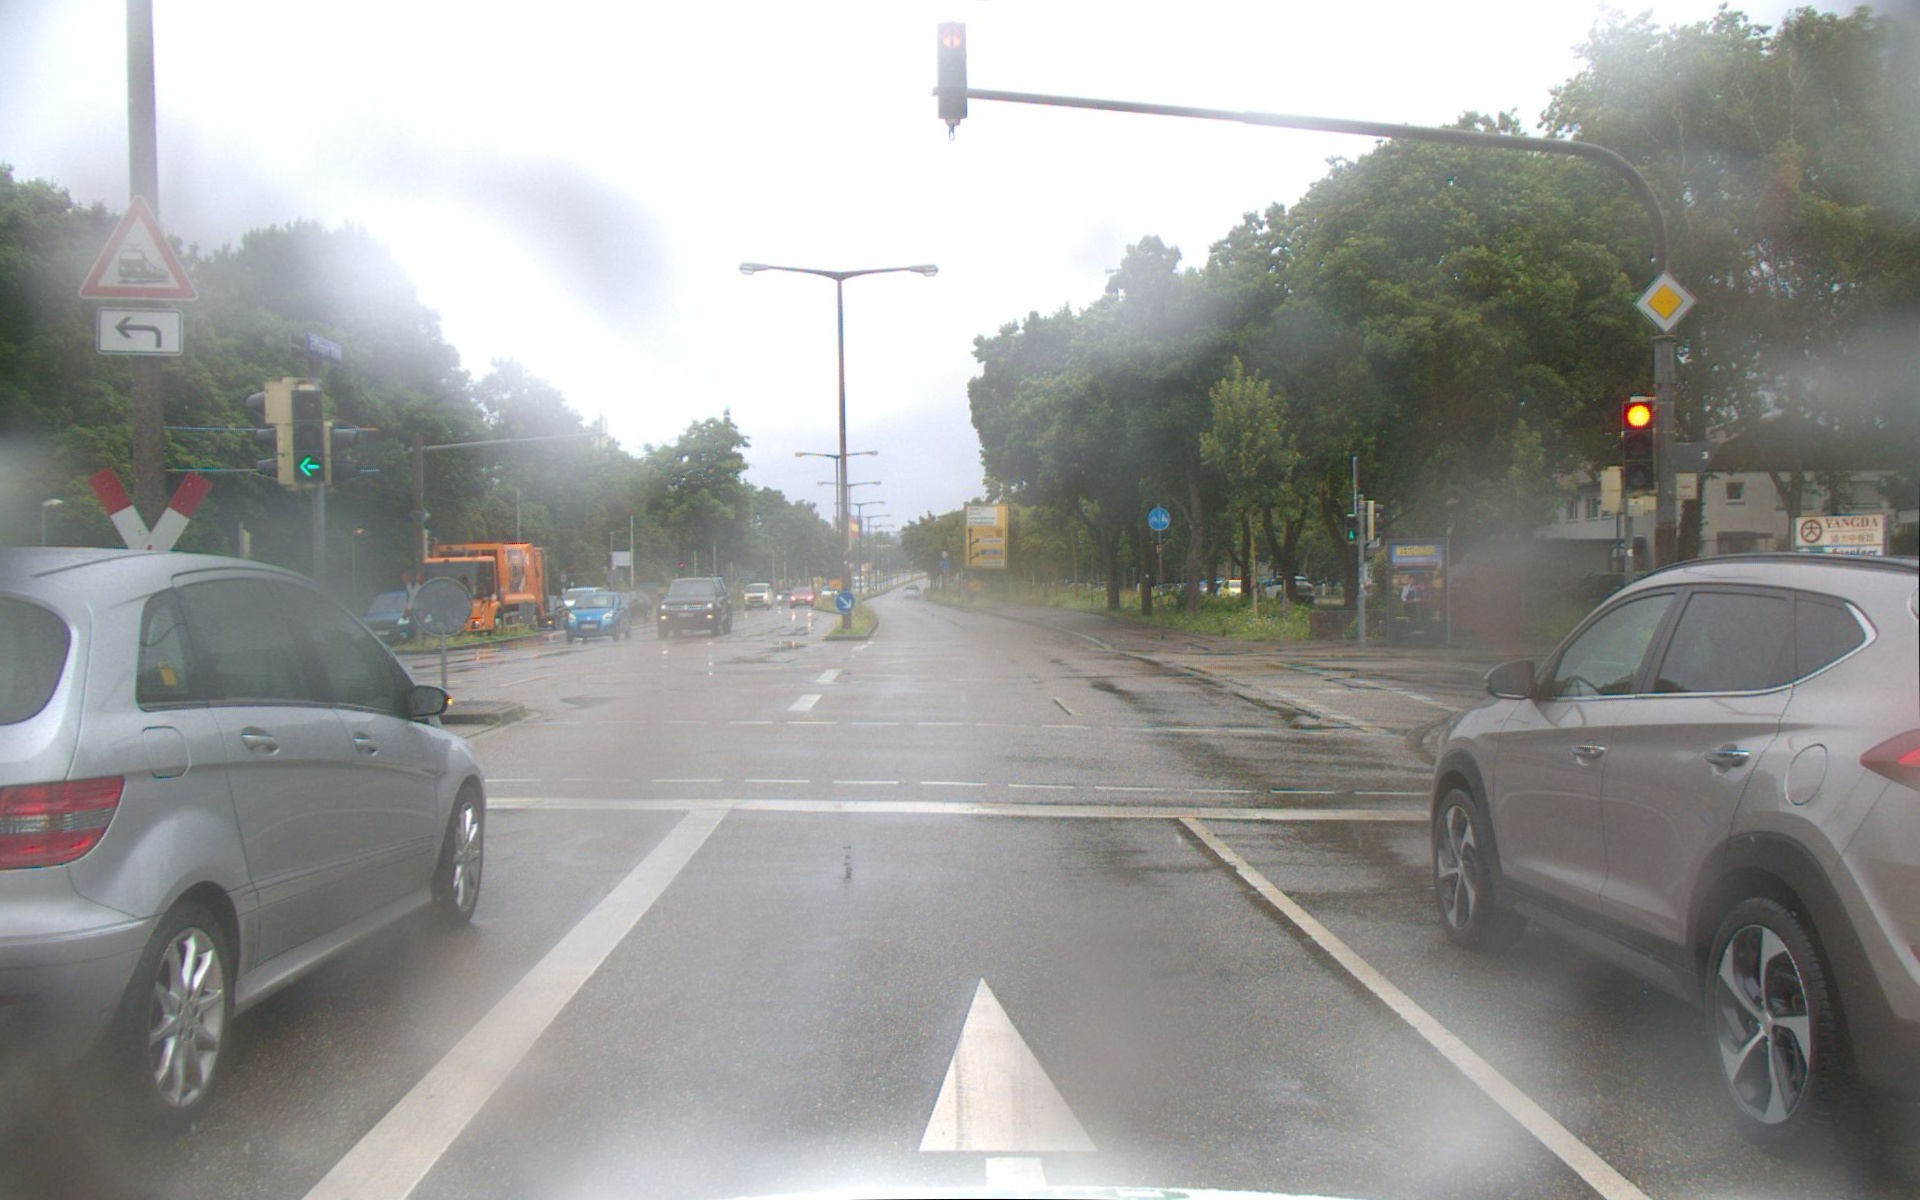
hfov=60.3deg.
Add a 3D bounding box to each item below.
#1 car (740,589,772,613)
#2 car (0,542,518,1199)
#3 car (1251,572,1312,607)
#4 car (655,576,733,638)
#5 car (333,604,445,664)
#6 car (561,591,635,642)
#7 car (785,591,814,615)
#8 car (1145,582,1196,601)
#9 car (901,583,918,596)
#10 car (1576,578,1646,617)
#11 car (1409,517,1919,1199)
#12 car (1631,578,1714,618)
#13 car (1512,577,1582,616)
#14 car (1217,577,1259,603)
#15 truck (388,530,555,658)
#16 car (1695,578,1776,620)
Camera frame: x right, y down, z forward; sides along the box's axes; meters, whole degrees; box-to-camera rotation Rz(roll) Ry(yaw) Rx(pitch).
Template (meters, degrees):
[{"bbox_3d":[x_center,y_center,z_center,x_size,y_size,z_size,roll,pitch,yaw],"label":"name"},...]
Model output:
[{"bbox_3d":[-14.677,0.030,119.156,1.855,1.639,4.499,-1,1,-1],"label":"car"},{"bbox_3d":[-2.903,0.638,5.864,1.701,1.571,4.012,0,0,-2],"label":"car"},{"bbox_3d":[16.928,-0.562,87.385,1.954,1.747,4.875,-1,0,-4],"label":"car"},{"bbox_3d":[-8.377,0.175,52.539,1.769,1.804,5.087,-2,1,-2],"label":"car"},{"bbox_3d":[-17.748,1.027,51.624,1.953,1.739,4.526,1,0,-1],"label":"car"},{"bbox_3d":[-11.223,0.486,51.534,1.609,1.452,3.997,-3,0,-4],"label":"car"},{"bbox_3d":[-11.596,0.226,119.715,1.765,1.597,4.426,-2,0,-3],"label":"car"},{"bbox_3d":[20.156,-0.786,158.398,4.483,1.673,1.997,1,0,-8],"label":"car"},{"bbox_3d":[-5.673,-1.193,187.028,1.868,1.541,3.999,-1,1,-1],"label":"car"},{"bbox_3d":[25.620,-0.093,65.051,1.637,1.474,3.737,1,0,36],"label":"car"},{"bbox_3d":[3.080,0.652,5.784,1.846,1.638,4.195,1,0,0],"label":"car"},{"bbox_3d":[27.214,-0.066,63.110,3.724,1.474,1.642,1,0,-45],"label":"car"},{"bbox_3d":[23.542,-0.131,66.310,1.637,1.474,3.737,1,0,36],"label":"car"},{"bbox_3d":[16.930,-0.591,100.795,1.605,1.512,4.070,1,0,-4],"label":"car"},{"bbox_3d":[-17.696,-0.184,60.851,3.317,4.240,10.402,1,0,-2],"label":"truck"},{"bbox_3d":[28.931,-0.035,61.660,3.724,1.474,1.577,1,0,-45],"label":"car"}]
